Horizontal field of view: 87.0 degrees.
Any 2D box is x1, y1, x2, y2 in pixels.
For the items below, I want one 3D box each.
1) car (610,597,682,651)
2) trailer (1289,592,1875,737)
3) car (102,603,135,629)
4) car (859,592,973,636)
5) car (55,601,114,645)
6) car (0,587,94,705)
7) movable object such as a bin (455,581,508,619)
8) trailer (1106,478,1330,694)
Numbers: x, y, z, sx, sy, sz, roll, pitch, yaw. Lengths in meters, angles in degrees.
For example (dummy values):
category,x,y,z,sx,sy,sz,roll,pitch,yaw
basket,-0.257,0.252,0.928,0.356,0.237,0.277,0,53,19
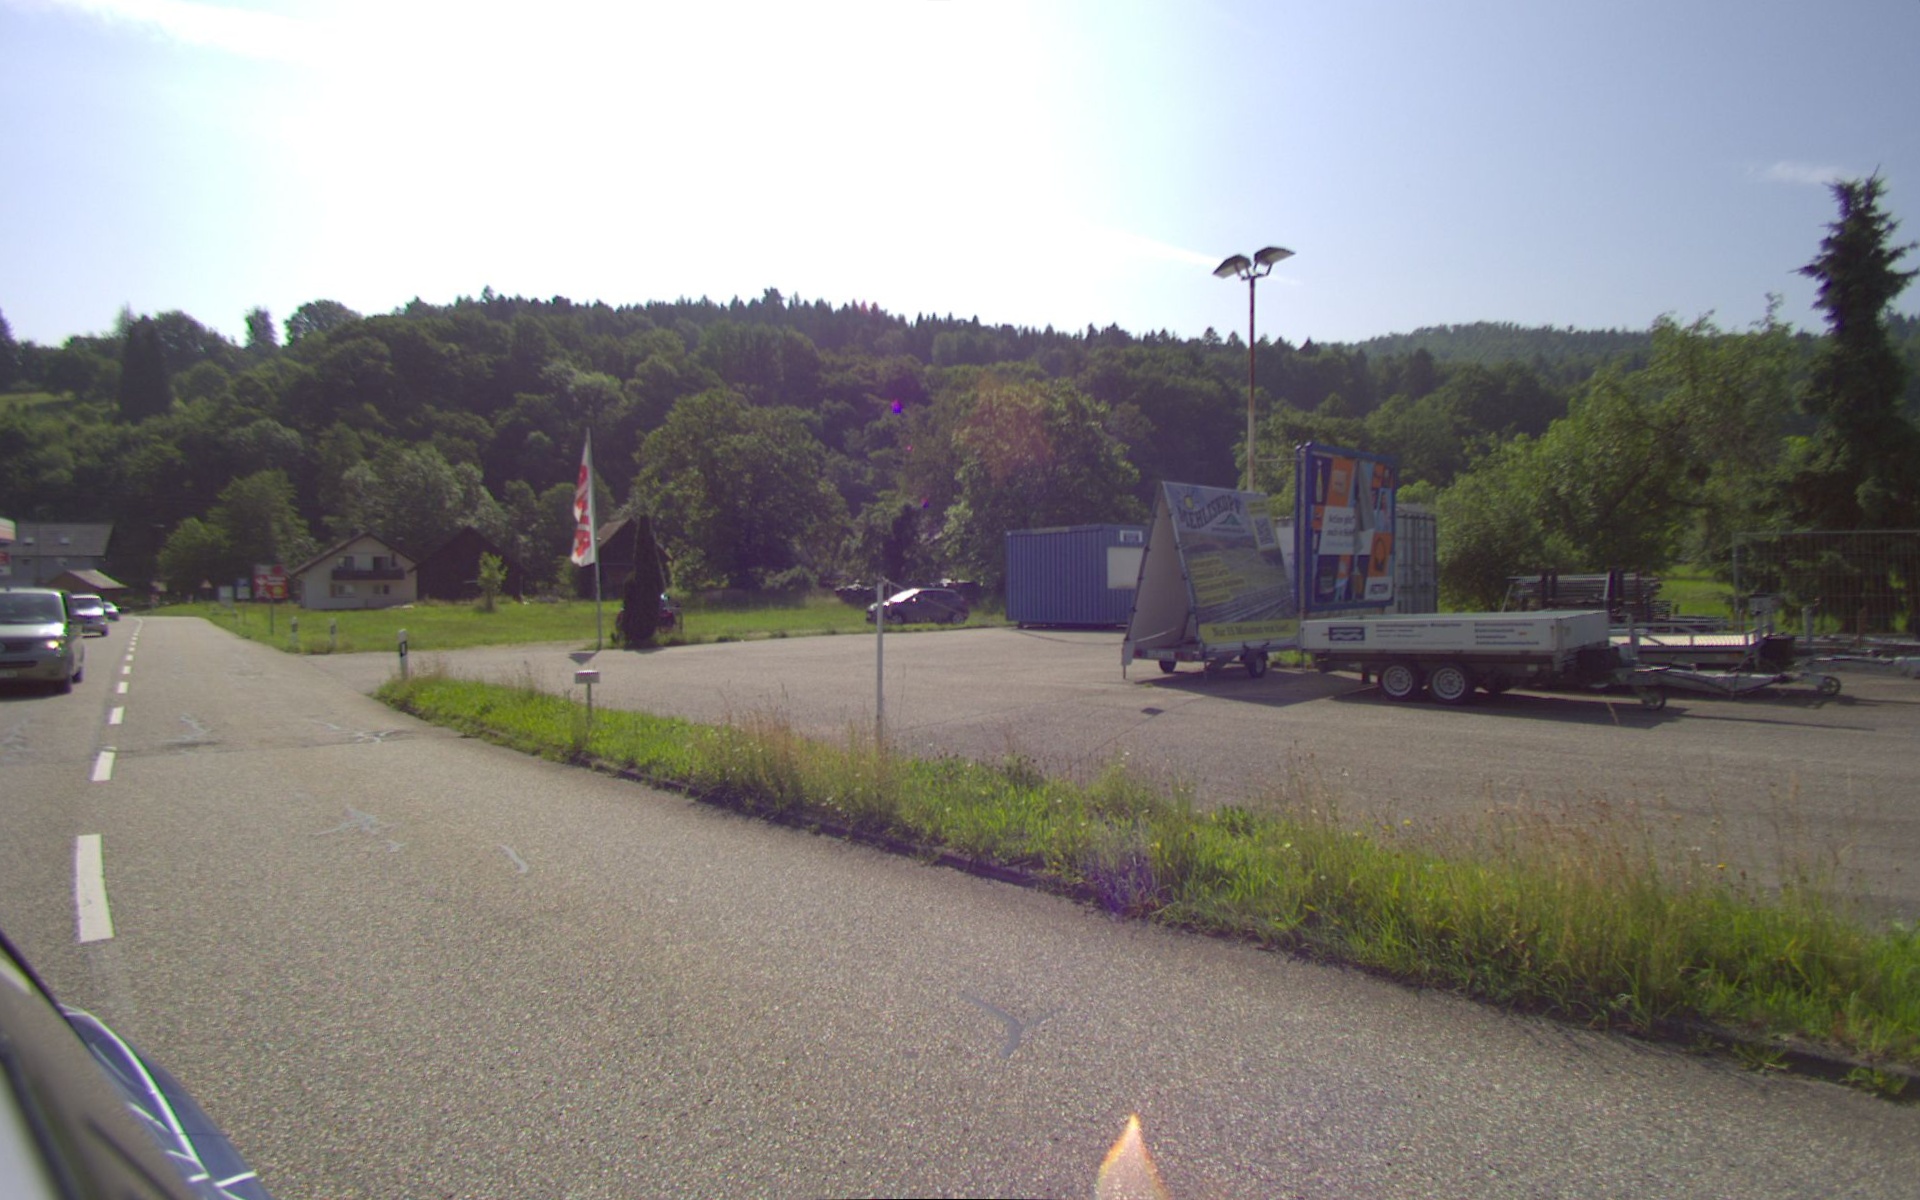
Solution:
category,x,y,z,sx,sy,sz,roll,pitch,yaw
car,-10.593,0.748,34.456,1.806,1.661,4.920,-2,0,-11
trailer,6.929,0.595,11.892,1.970,1.235,5.551,-4,2,-43
car,-64.277,1.199,77.336,1.740,1.758,3.989,-3,3,-37
car,-1.677,0.514,38.675,3.865,1.496,1.924,-2,0,-24
car,-40.137,1.043,46.366,1.868,1.871,4.708,-1,0,-43
car,-17.850,0.808,19.124,1.992,1.997,5.059,0,-1,-38
movable object such as a bin,-42.274,-0.015,89.514,4.120,3.161,2.210,-2,1,-25
trailer,4.059,-0.252,15.656,1.884,2.933,3.354,-1,2,44
